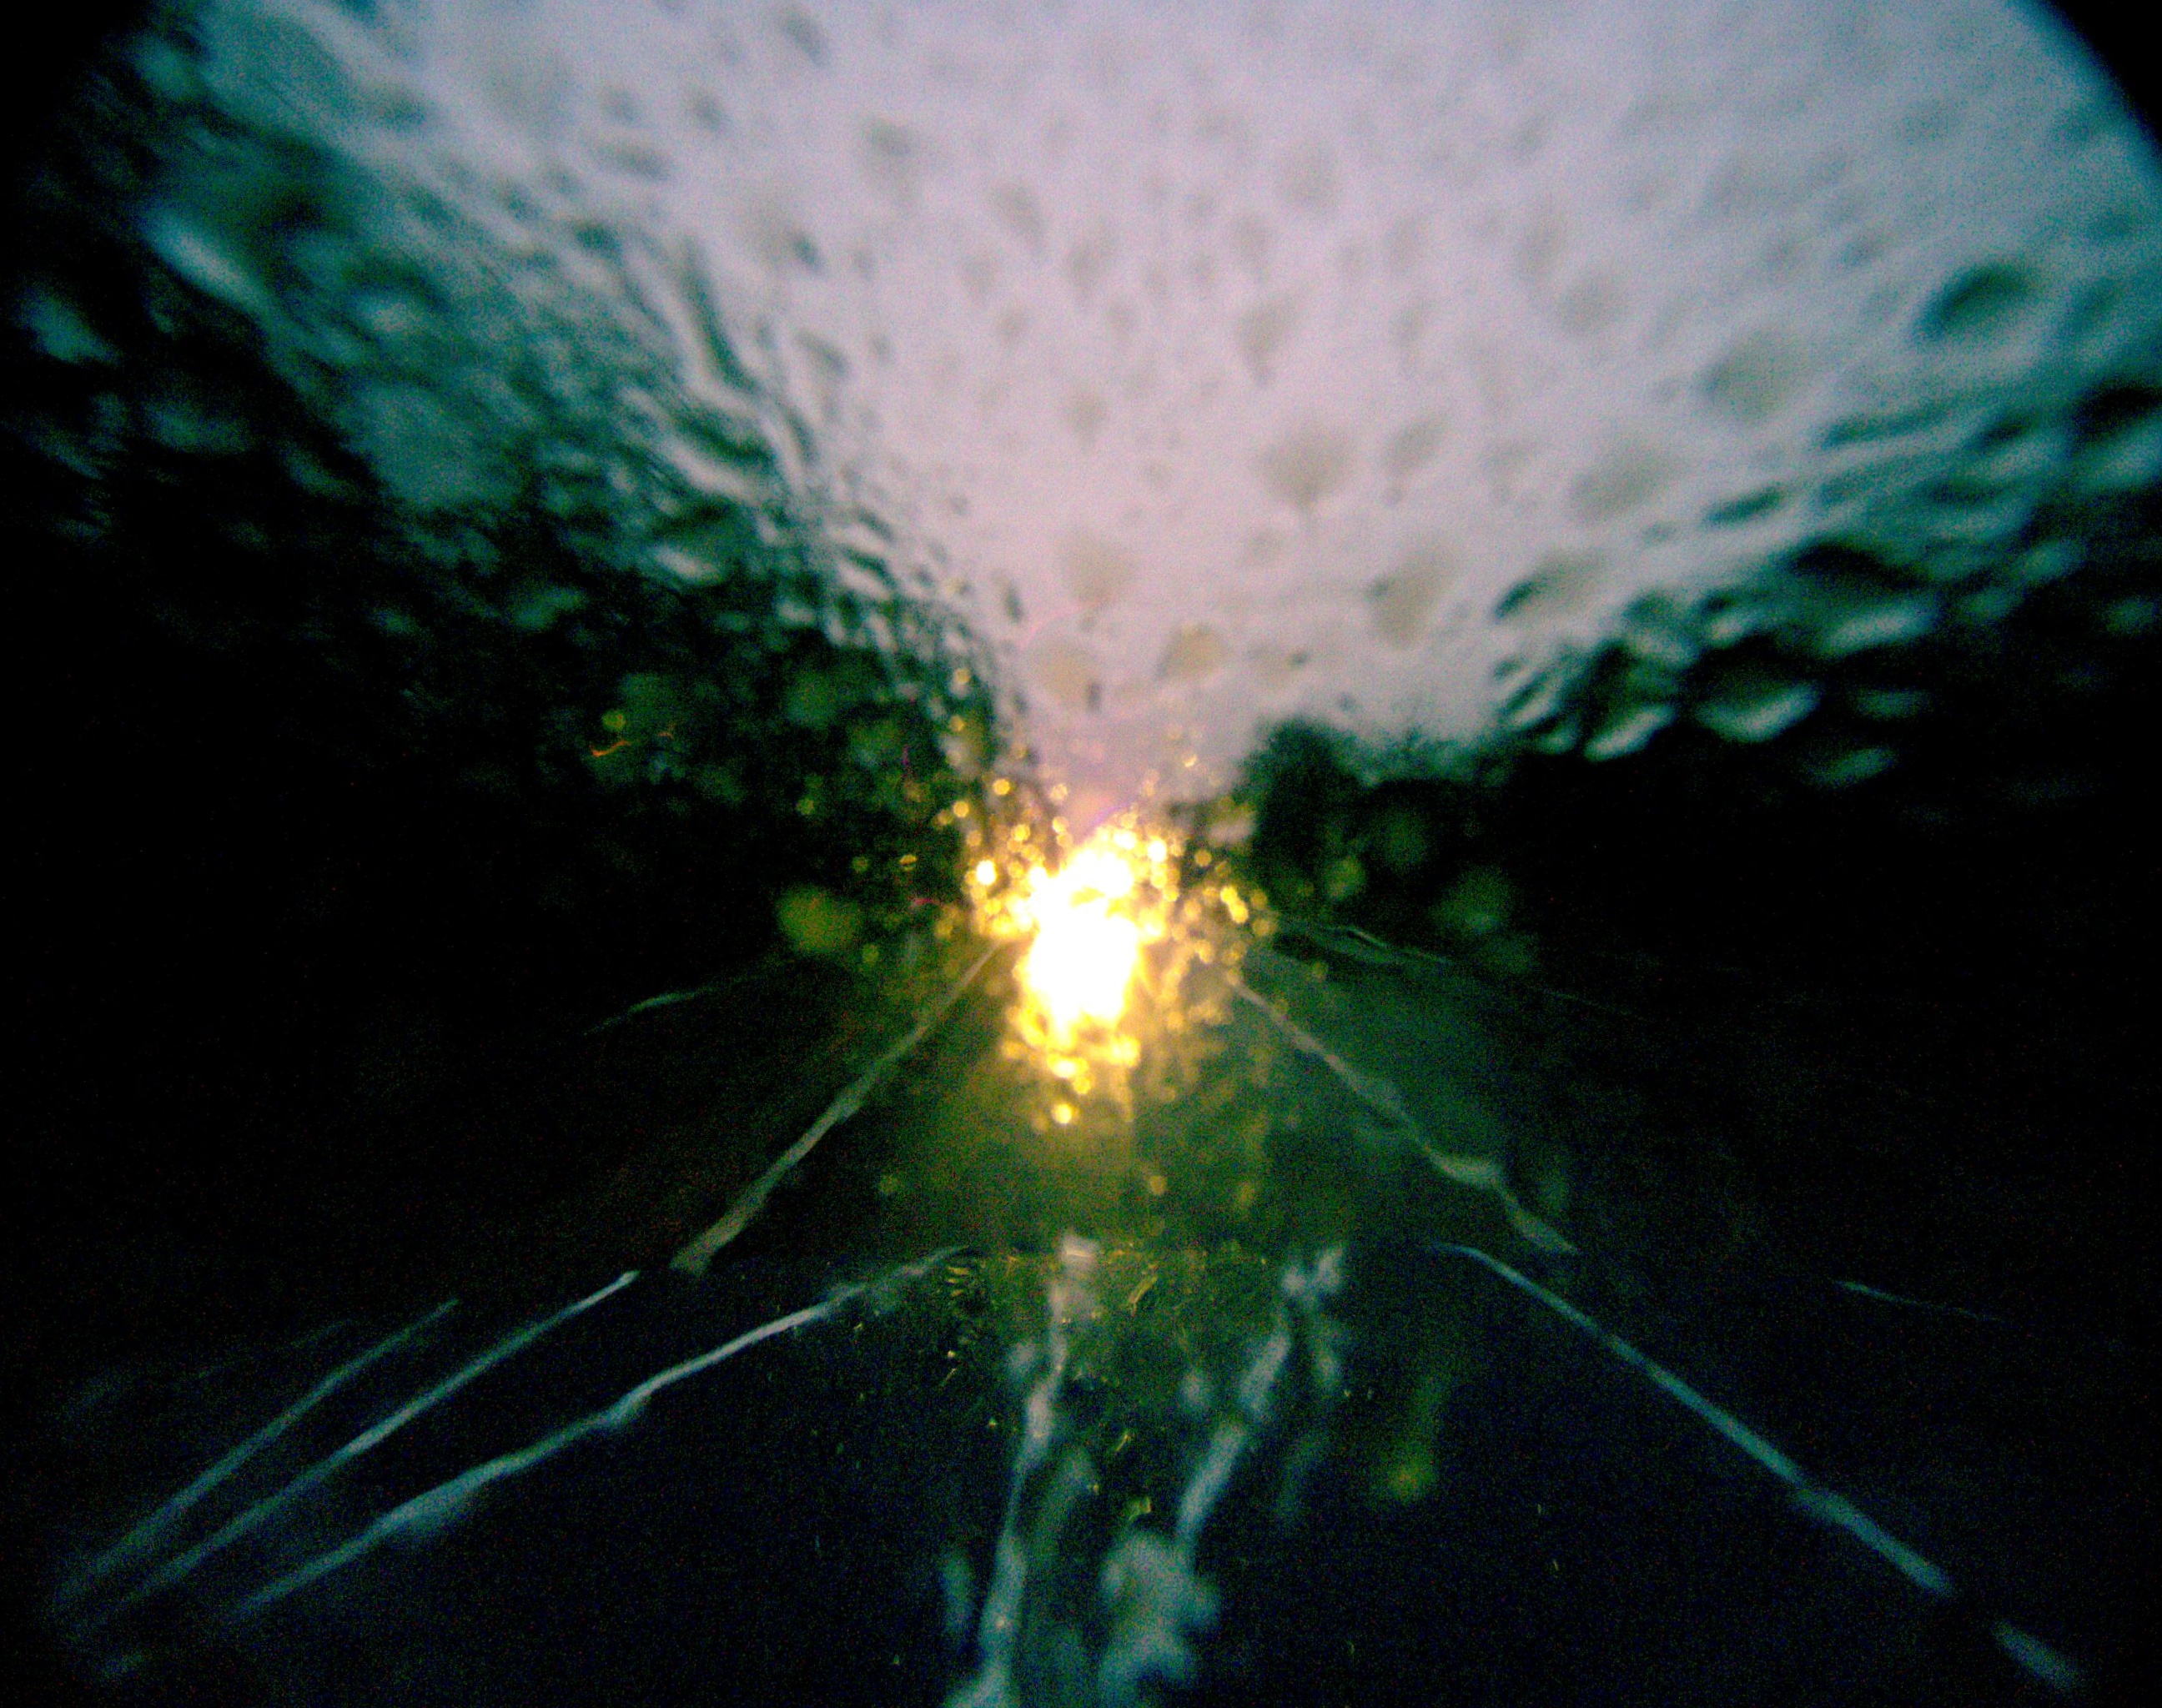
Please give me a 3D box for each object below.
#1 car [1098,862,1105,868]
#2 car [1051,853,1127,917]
[{"bbox_3d":[5.199,2.839,196.231,1.698,1.551,4.130,-2,-2,1],"label":"car"},{"bbox_3d":[0.221,0.848,22.810,1.998,1.672,4.000,-2,0,0],"label":"car"}]
